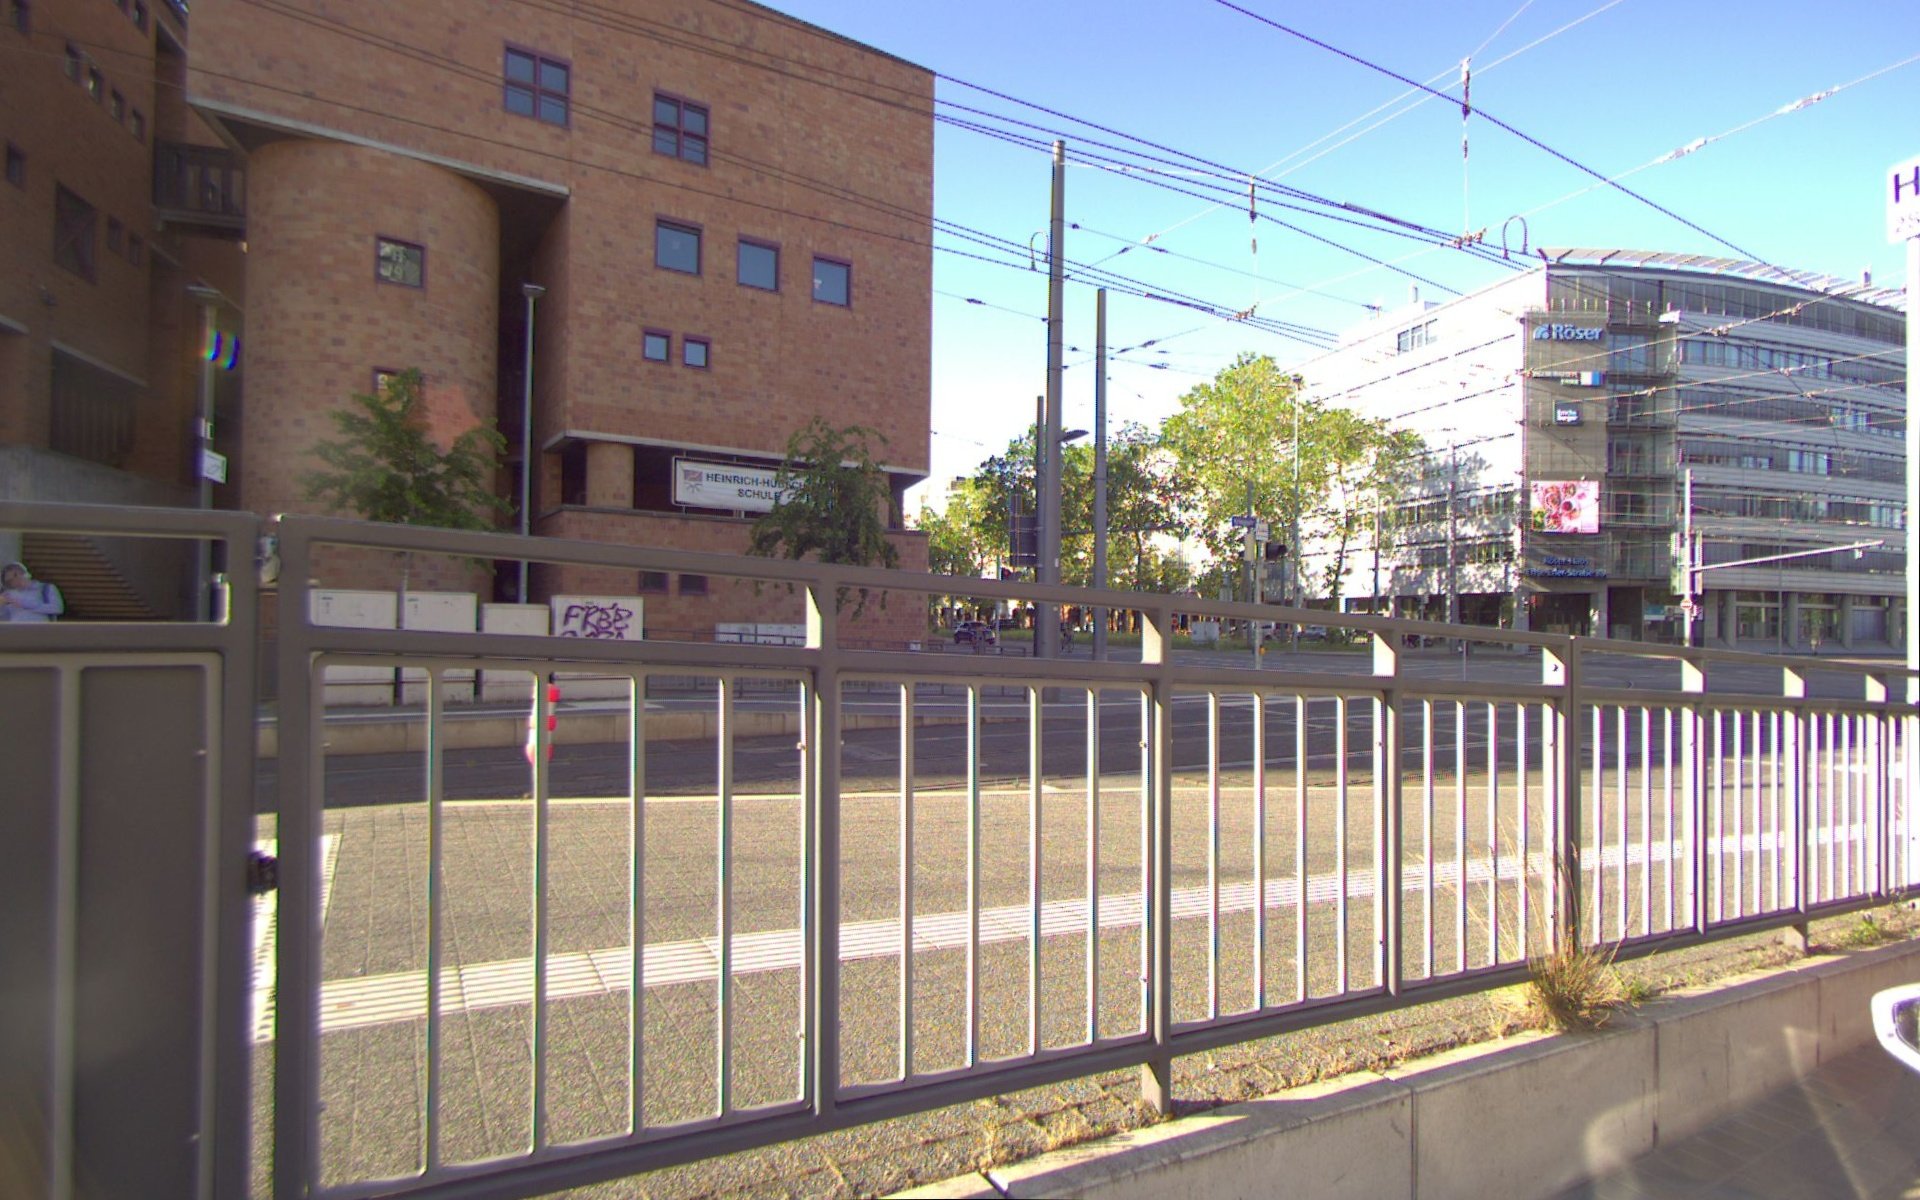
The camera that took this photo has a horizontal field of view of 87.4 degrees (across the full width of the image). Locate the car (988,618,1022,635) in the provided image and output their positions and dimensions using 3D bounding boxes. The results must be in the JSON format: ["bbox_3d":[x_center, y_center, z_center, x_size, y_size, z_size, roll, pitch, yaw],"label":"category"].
[{"bbox_3d":[5.277,3.083,117.583,2.011,2.003,4.382,0,-1,-29],"label":"car"}]

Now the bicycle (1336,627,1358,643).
[{"bbox_3d":[30.545,2.758,79.322,1.812,1.167,0.467,0,0,-23],"label":"bicycle"}]

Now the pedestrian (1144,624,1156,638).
[{"bbox_3d":[20.726,3.374,109.426,0.860,1.567,0.989,1,-1,-22],"label":"pedestrian"}]

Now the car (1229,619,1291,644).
[{"bbox_3d":[24.203,2.499,81.223,1.904,1.868,4.889,-1,0,-28],"label":"car"}]

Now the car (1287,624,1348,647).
[{"bbox_3d":[27.166,2.697,76.476,1.840,1.594,4.387,-1,0,-25],"label":"car"}]

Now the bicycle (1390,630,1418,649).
[{"bbox_3d":[31.278,2.782,70.749,0.605,1.179,1.835,-2,2,-27],"label":"bicycle"}]

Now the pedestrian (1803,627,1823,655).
[{"bbox_3d":[57.043,2.769,67.155,0.872,1.847,0.674,1,-2,-20],"label":"pedestrian"}]

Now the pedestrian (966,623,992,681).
[{"bbox_3d":[0.540,1.496,28.964,0.501,1.639,0.504,2,0,-40],"label":"pedestrian"}]

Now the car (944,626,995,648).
[{"bbox_3d":[0.596,2.455,67.055,1.639,1.346,3.587,2,0,-34],"label":"car"}]

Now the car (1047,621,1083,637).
[{"bbox_3d":[11.211,3.100,107.401,1.969,1.650,4.055,0,-1,-29],"label":"car"}]

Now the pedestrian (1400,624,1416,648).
[{"bbox_3d":[31.642,2.553,70.989,0.598,1.633,0.832,-2,2,-26],"label":"pedestrian"}]

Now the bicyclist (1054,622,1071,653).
[{"bbox_3d":[5.394,1.964,52.794,0.614,1.643,0.812,1,-1,-15],"label":"bicyclist"}]

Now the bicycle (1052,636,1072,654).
[{"bbox_3d":[5.359,2.360,52.886,0.528,0.925,1.564,1,-1,-15],"label":"bicycle"}]

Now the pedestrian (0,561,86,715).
[{"bbox_3d":[-9.707,0.394,10.563,0.647,1.555,0.696,1,-1,-33],"label":"pedestrian"}]

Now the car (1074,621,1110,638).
[{"bbox_3d":[13.442,2.992,102.243,1.840,1.660,3.844,1,-1,-25],"label":"car"}]
